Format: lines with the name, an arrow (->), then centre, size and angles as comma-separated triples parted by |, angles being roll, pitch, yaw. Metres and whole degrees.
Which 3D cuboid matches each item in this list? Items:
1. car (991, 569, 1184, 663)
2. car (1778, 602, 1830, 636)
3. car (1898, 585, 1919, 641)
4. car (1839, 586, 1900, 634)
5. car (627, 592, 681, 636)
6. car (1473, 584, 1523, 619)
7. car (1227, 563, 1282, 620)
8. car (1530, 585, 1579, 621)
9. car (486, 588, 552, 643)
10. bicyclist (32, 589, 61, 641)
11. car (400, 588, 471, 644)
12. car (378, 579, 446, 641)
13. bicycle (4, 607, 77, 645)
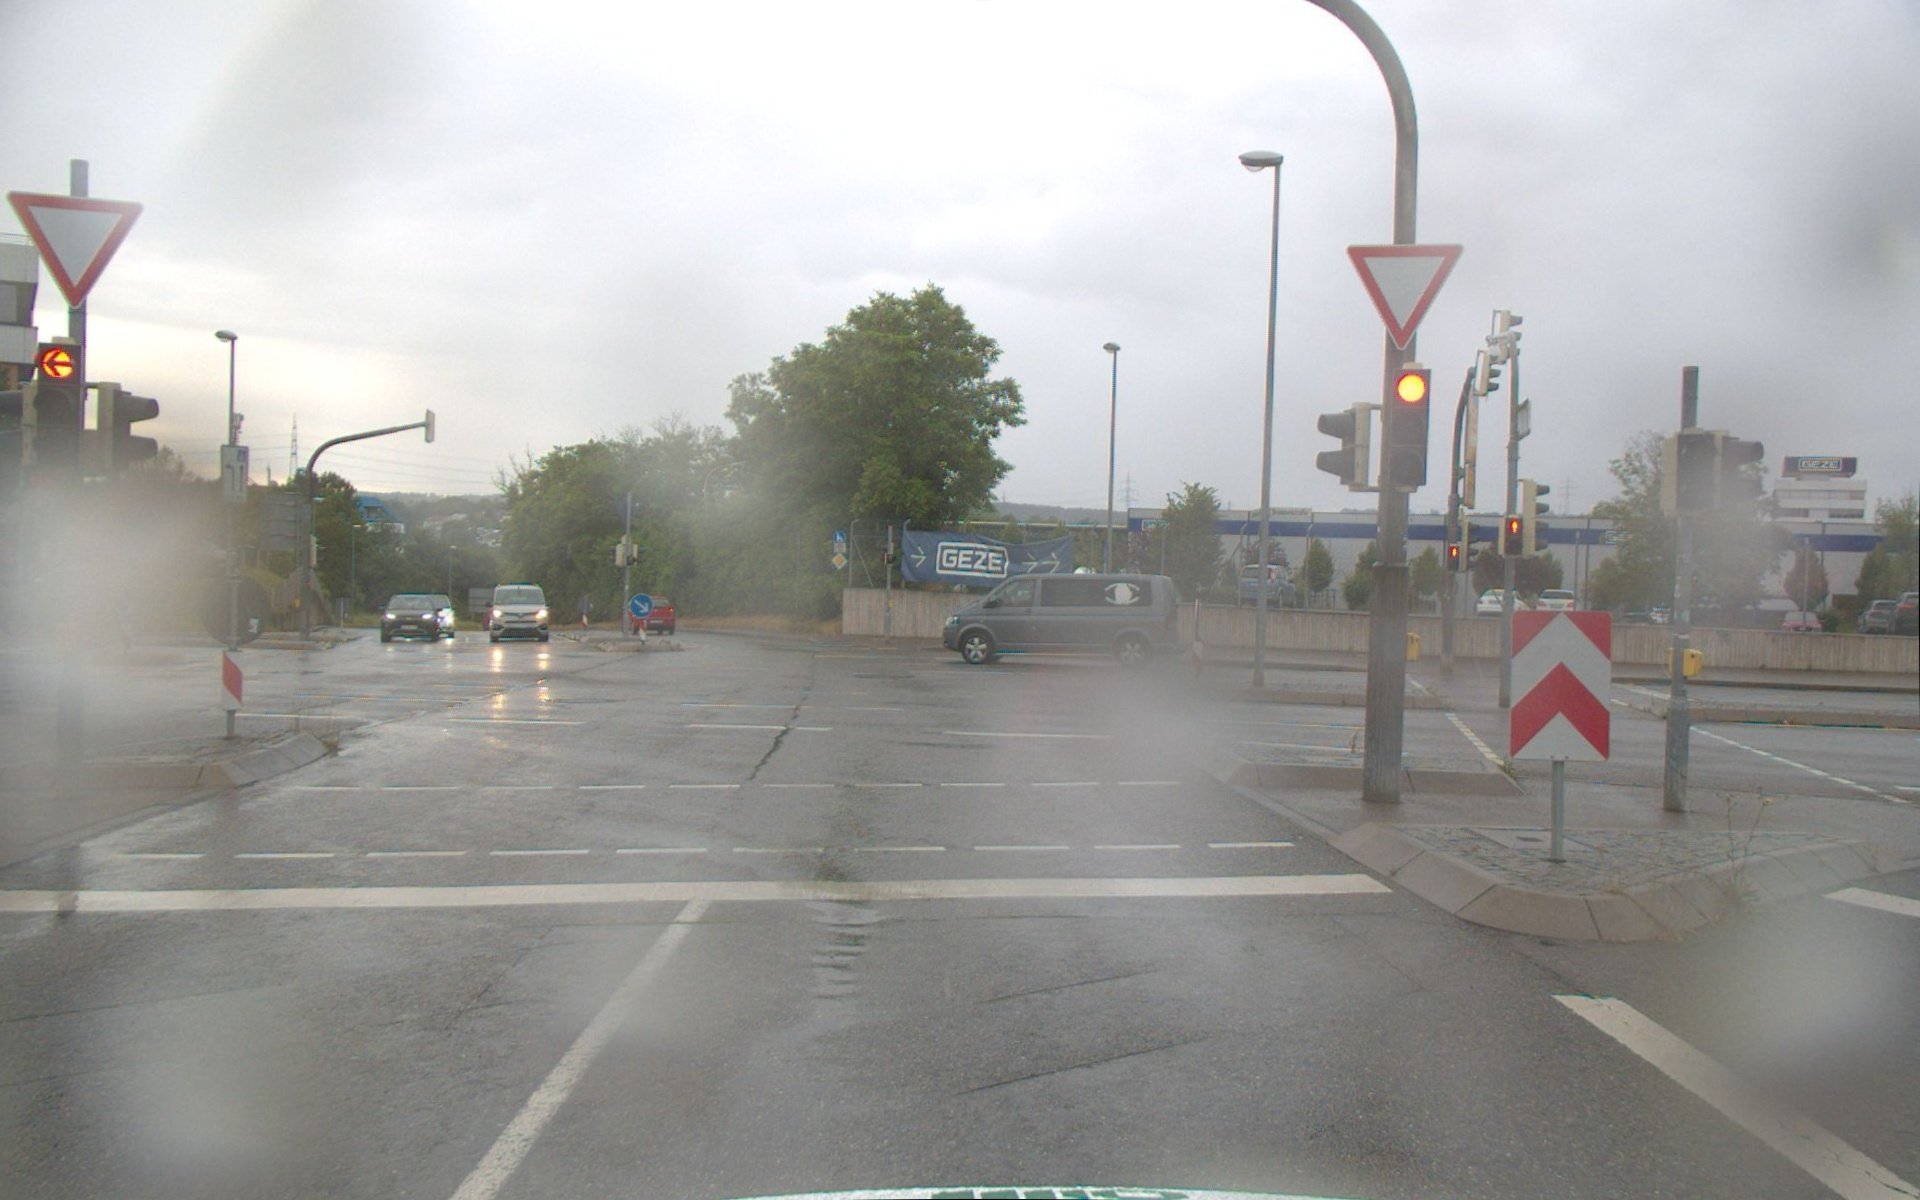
car -> 2.791, 0.315, 35.716 | 3.902, 1.881, 2.002 | 1, 1, 11
car -> 40.138, 0.891, 78.635 | 1.736, 1.504, 3.635 | 2, 1, 35
car -> 31.486, 0.426, 53.361 | 1.737, 1.745, 3.634 | 1, 1, 36
car -> 35.183, 0.379, 63.976 | 1.686, 1.745, 3.635 | 1, 1, 35
car -> -12.003, 0.530, 64.680 | 1.590, 1.474, 3.789 | 2, 2, -18
car -> 24.059, 0.048, 73.953 | 1.952, 1.504, 4.001 | 2, 1, 20
car -> 11.316, -0.326, 63.366 | 1.951, 2.049, 4.004 | 1, 0, 12
car -> 26.345, 0.110, 73.325 | 1.952, 1.504, 4.001 | 2, 1, 20
car -> -14.138, 0.469, 53.196 | 1.960, 1.646, 3.985 | 1, 1, -14
bicyclist -> -26.778, 0.435, 48.490 | 0.533, 1.471, 0.602 | 1, 0, -6
car -> -19.385, 0.559, 61.230 | 1.957, 1.928, 3.991 | 1, 1, -10
car -> -17.856, 0.316, 54.012 | 1.962, 1.928, 3.980 | 1, 0, -18
bicycle -> -26.940, 0.759, 48.477 | 1.740, 1.070, 0.609 | 1, 0, -6
